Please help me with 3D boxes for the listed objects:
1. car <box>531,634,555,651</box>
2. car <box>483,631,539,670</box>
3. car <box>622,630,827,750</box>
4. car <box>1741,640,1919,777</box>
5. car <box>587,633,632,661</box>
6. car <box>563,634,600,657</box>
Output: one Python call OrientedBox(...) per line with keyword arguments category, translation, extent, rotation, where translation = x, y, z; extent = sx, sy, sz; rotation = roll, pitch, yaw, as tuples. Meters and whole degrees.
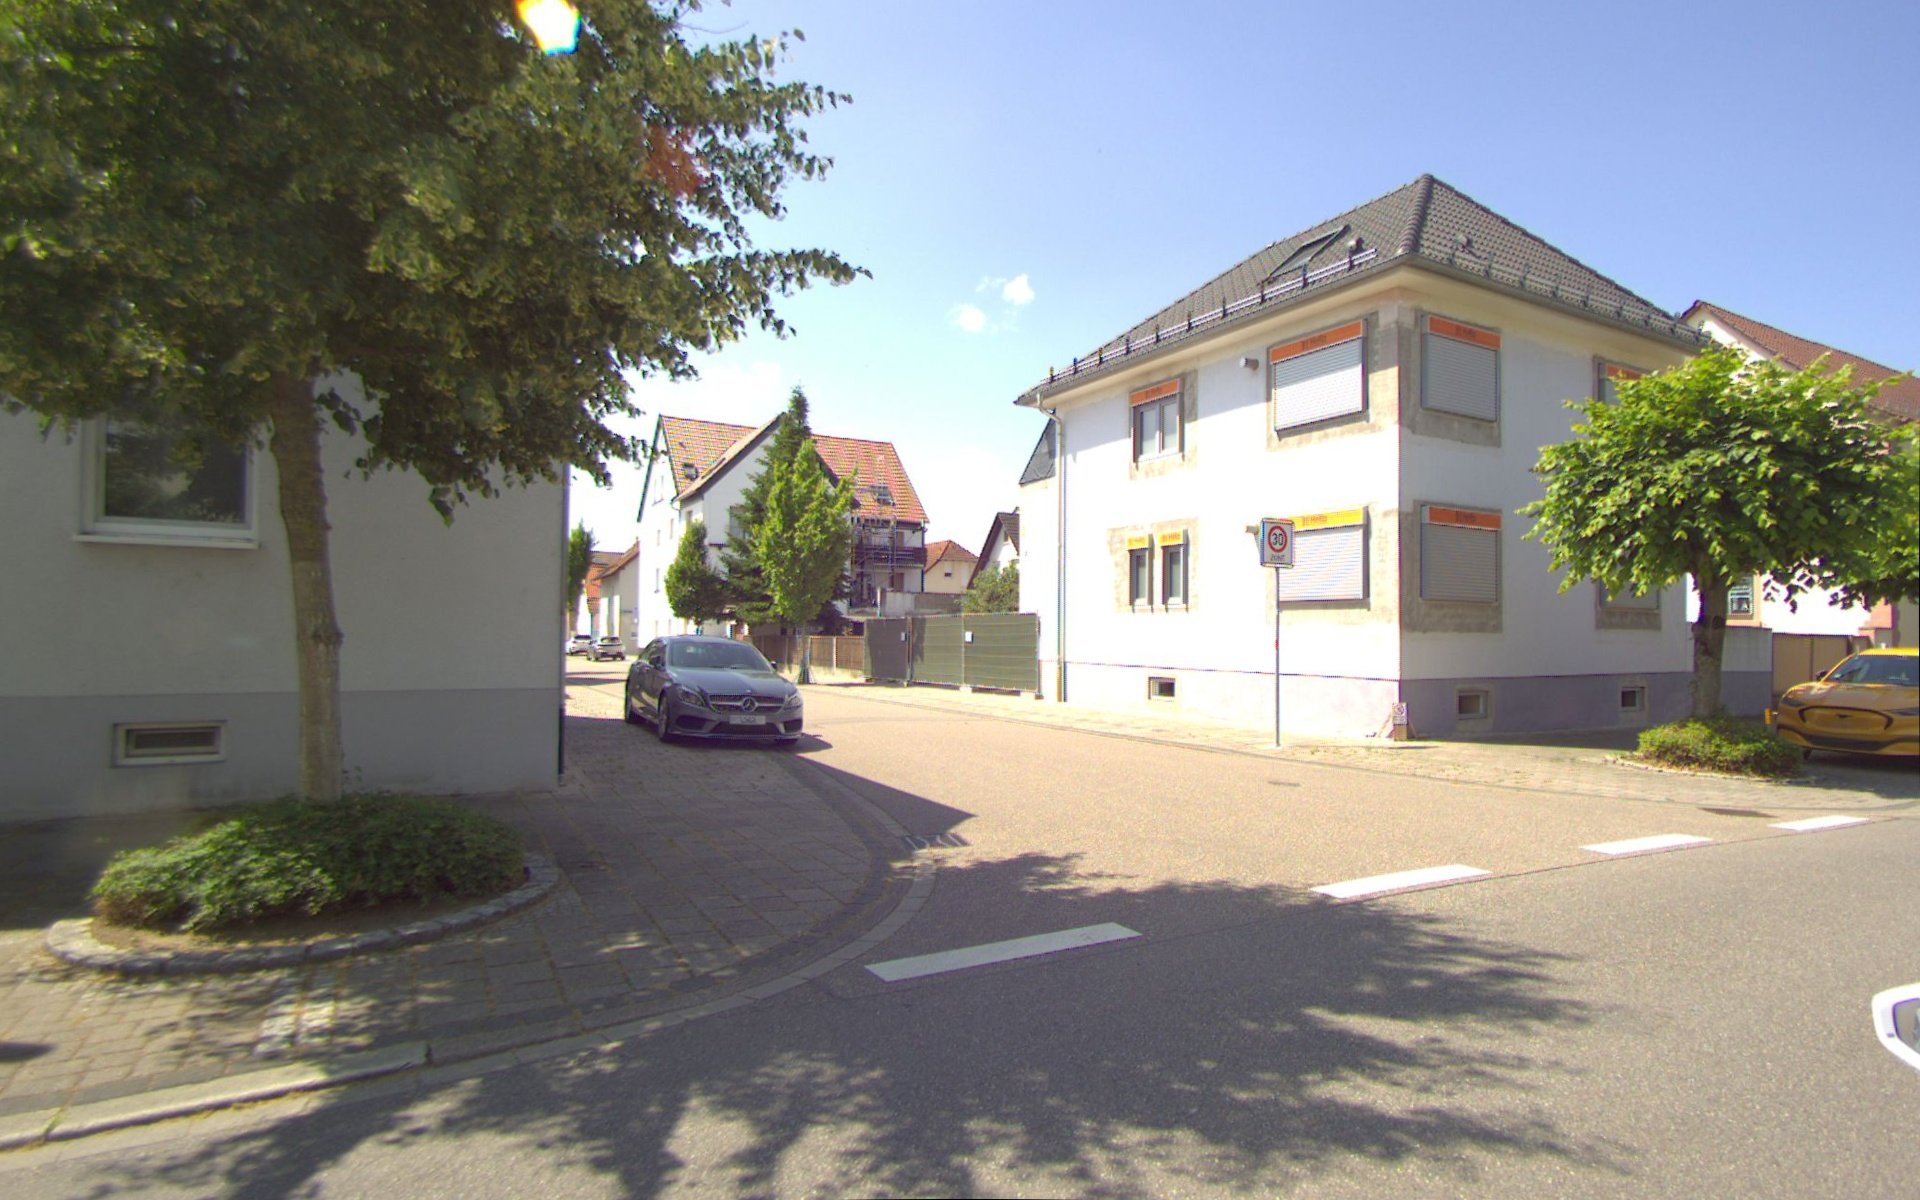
OrientedBox(category="car", translation=(-38.482, 3.904, 92.633), extent=(1.734, 1.467, 3.246), rotation=(4, -3, -27))
OrientedBox(category="car", translation=(-18.731, 2.075, 41.823), extent=(1.974, 1.467, 4.324), rotation=(4, -3, -25))
OrientedBox(category="car", translation=(-3.584, 1.218, 14.648), extent=(1.974, 1.467, 4.324), rotation=(4, -3, -25))
OrientedBox(category="car", translation=(13.613, 1.472, 14.526), extent=(4.631, 1.633, 1.985), rotation=(2, -1, -29))
OrientedBox(category="car", translation=(-20.569, 2.741, 58.875), extent=(1.974, 1.467, 4.324), rotation=(4, -3, -25))
OrientedBox(category="car", translation=(-26.624, 3.166, 70.526), extent=(1.903, 1.467, 4.012), rotation=(4, -3, -27))
